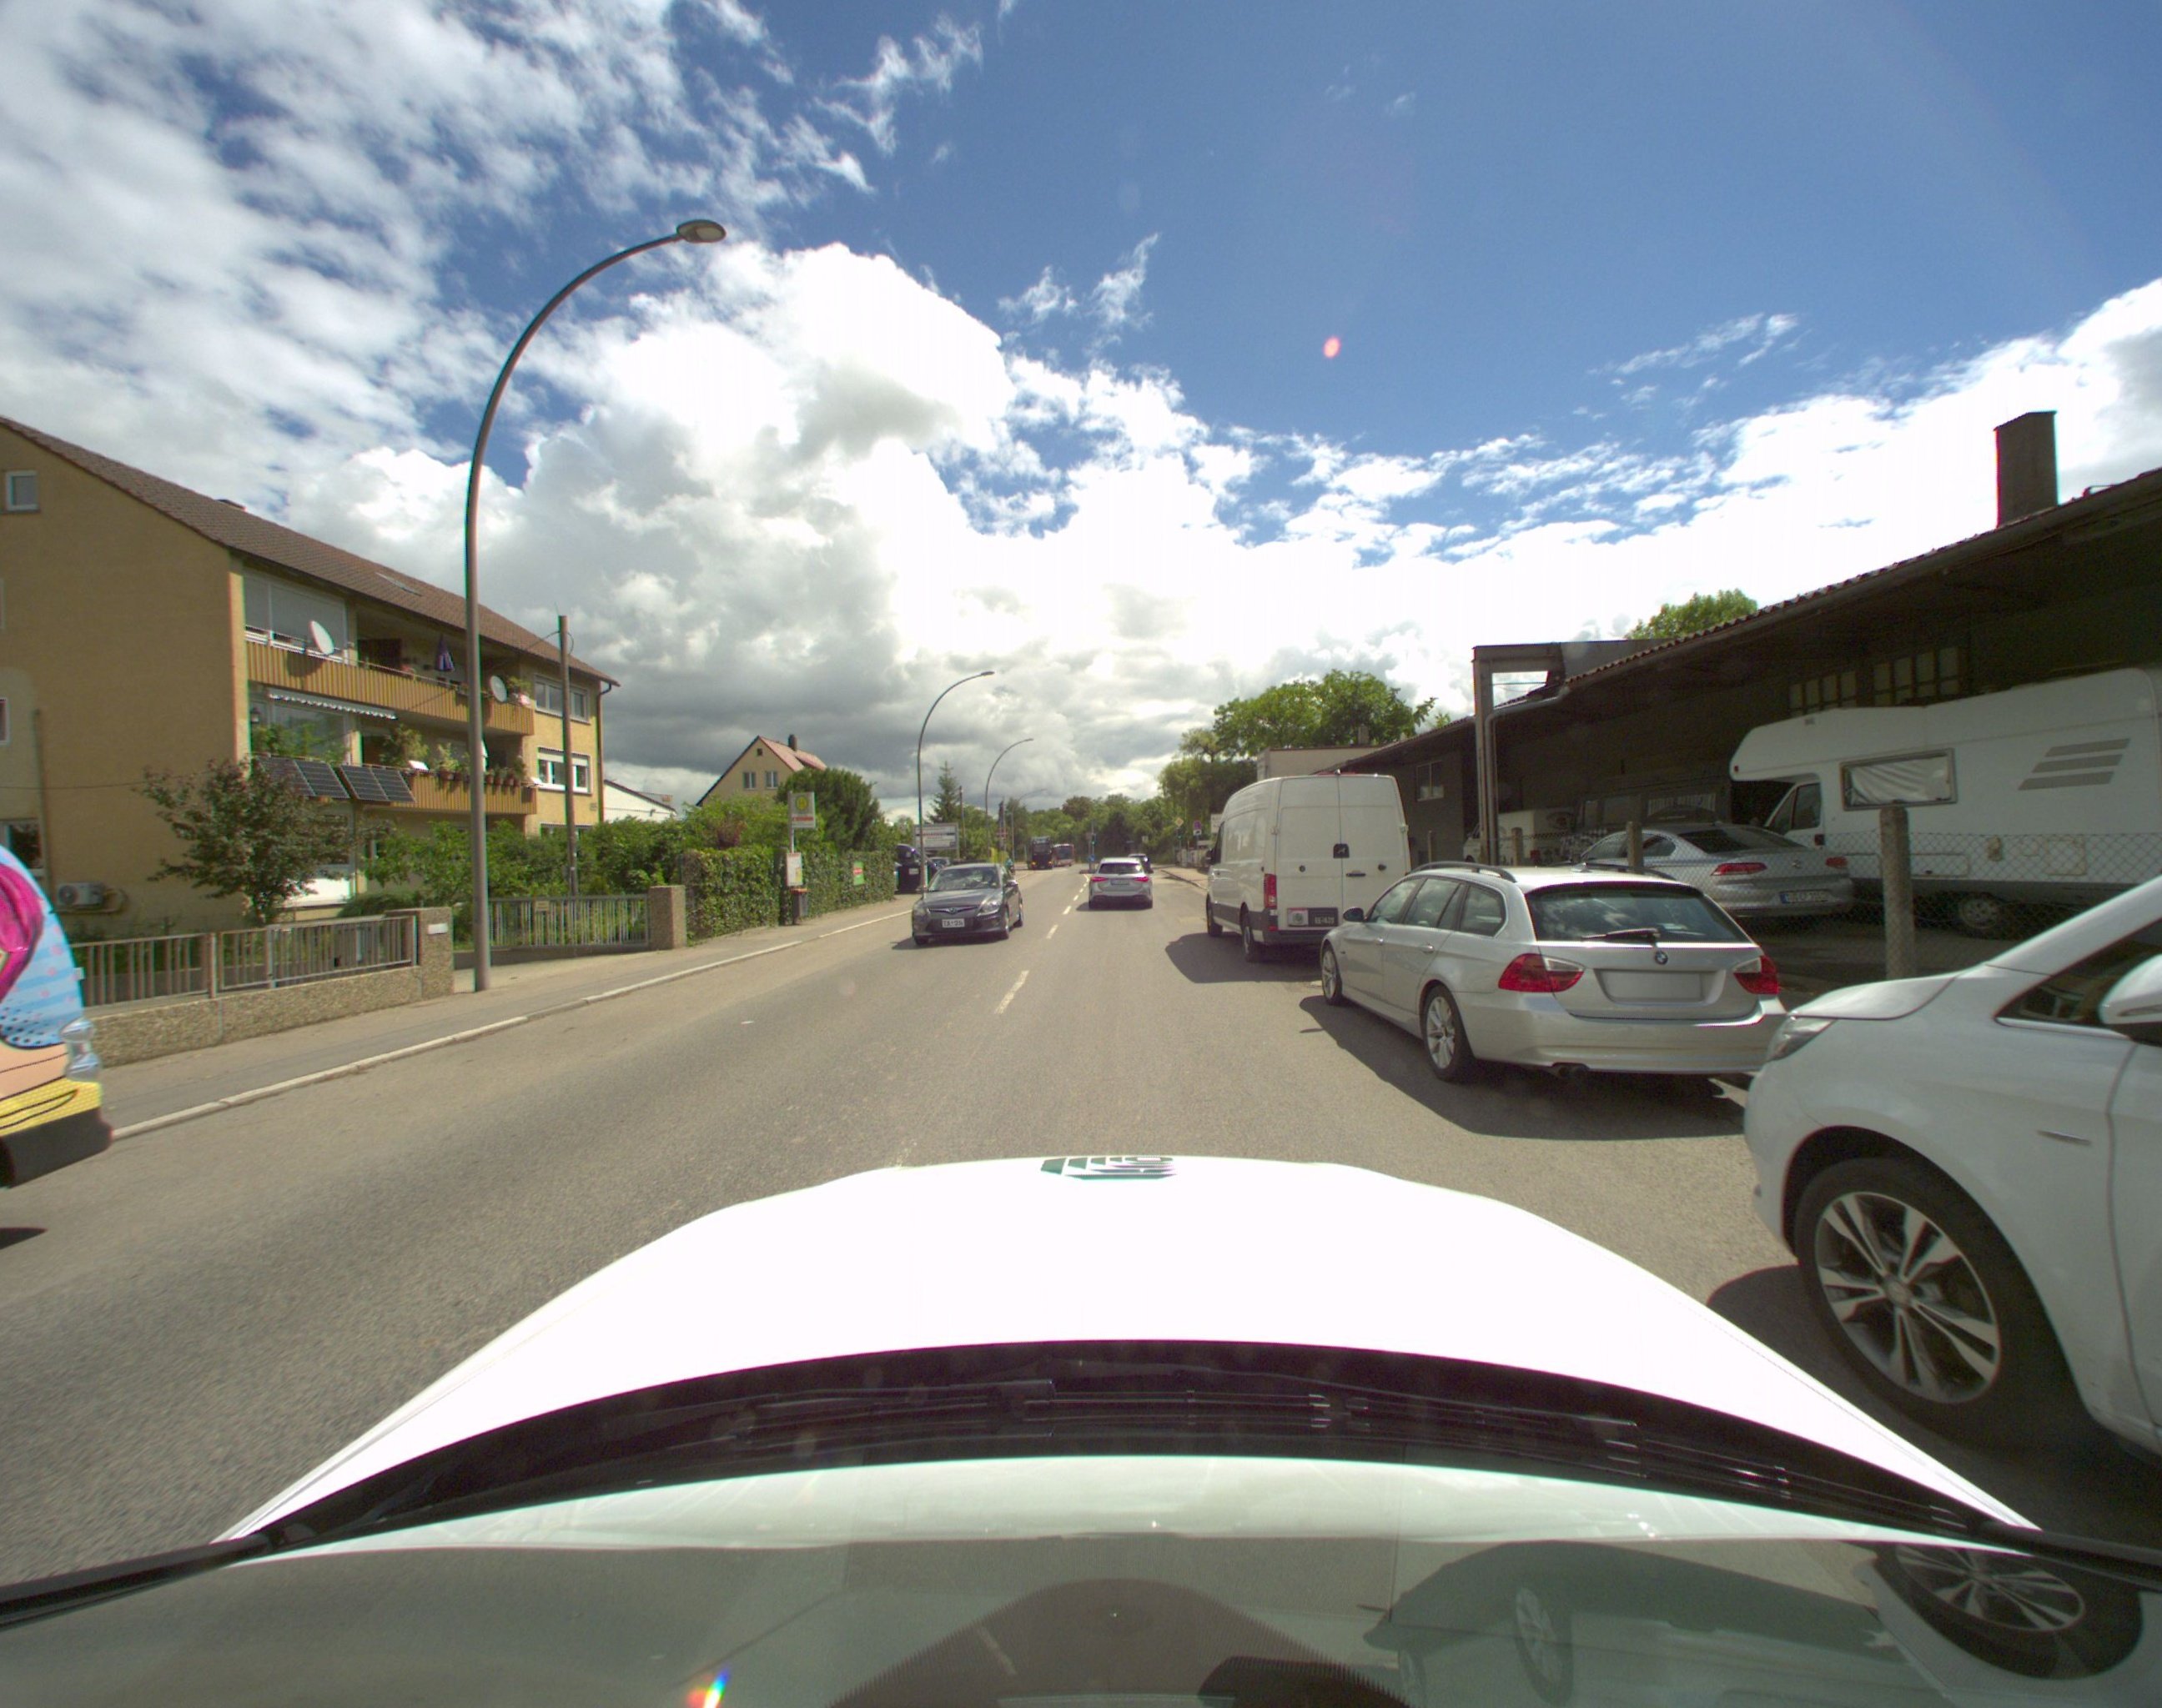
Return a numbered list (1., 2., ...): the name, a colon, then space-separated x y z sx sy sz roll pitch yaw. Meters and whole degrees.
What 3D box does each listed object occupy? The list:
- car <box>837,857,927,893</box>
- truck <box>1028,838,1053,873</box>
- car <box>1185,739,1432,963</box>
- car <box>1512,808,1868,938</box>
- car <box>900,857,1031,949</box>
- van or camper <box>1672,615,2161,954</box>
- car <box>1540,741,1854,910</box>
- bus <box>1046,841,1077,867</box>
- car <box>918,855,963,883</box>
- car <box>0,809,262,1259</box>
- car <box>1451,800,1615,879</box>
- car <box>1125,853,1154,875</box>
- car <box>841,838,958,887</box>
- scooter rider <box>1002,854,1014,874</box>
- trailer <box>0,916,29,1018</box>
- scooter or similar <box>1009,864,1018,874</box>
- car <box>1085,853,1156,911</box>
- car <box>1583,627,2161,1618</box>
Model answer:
1. car: -9.482 0.966 39.440 1.980 1.486 5.359 -2 0 13
2. truck: -5.088 0.207 100.602 2.427 4.131 9.126 0 -1 -7
3. car: 3.269 -0.038 13.504 2.207 2.689 6.658 -3 0 1
4. car: 8.583 0.197 12.206 1.758 1.489 4.929 -2 1 2
5. car: -2.176 0.867 16.562 1.894 1.518 4.319 -3 0 1
6. van or camper: 11.240 -0.678 10.041 2.871 3.060 6.914 -2 0 1
7. car: 11.607 -0.524 16.037 2.011 2.681 5.498 -2 1 0
8. bus: -2.880 0.052 116.594 2.776 3.266 12.087 -3 0 -8
9. car: -8.699 0.903 50.827 2.025 1.595 4.283 -3 0 -1
10. car: -5.471 0.843 1.924 1.826 1.853 4.898 -5 1 2
11. car: 12.461 -0.396 22.902 1.986 1.910 4.855 -2 1 2
12. car: 4.158 0.685 58.283 1.878 1.508 4.001 -2 0 1
13. car: -10.357 0.471 46.901 6.014 2.496 2.478 -3 0 1
14. scooter rider: -6.075 0.840 67.936 0.875 1.589 0.796 -2 0 2
15. trailer: -22.231 2.417 14.314 3.976 1.884 2.459 -9 0 -1
16. scooter or similar: -5.593 1.219 67.331 0.609 0.831 0.659 -1 0 2
17. car: 1.164 0.750 24.116 1.877 1.508 4.002 -2 0 2
18. car: 2.989 0.508 0.667 1.898 1.885 5.390 0 0 1
